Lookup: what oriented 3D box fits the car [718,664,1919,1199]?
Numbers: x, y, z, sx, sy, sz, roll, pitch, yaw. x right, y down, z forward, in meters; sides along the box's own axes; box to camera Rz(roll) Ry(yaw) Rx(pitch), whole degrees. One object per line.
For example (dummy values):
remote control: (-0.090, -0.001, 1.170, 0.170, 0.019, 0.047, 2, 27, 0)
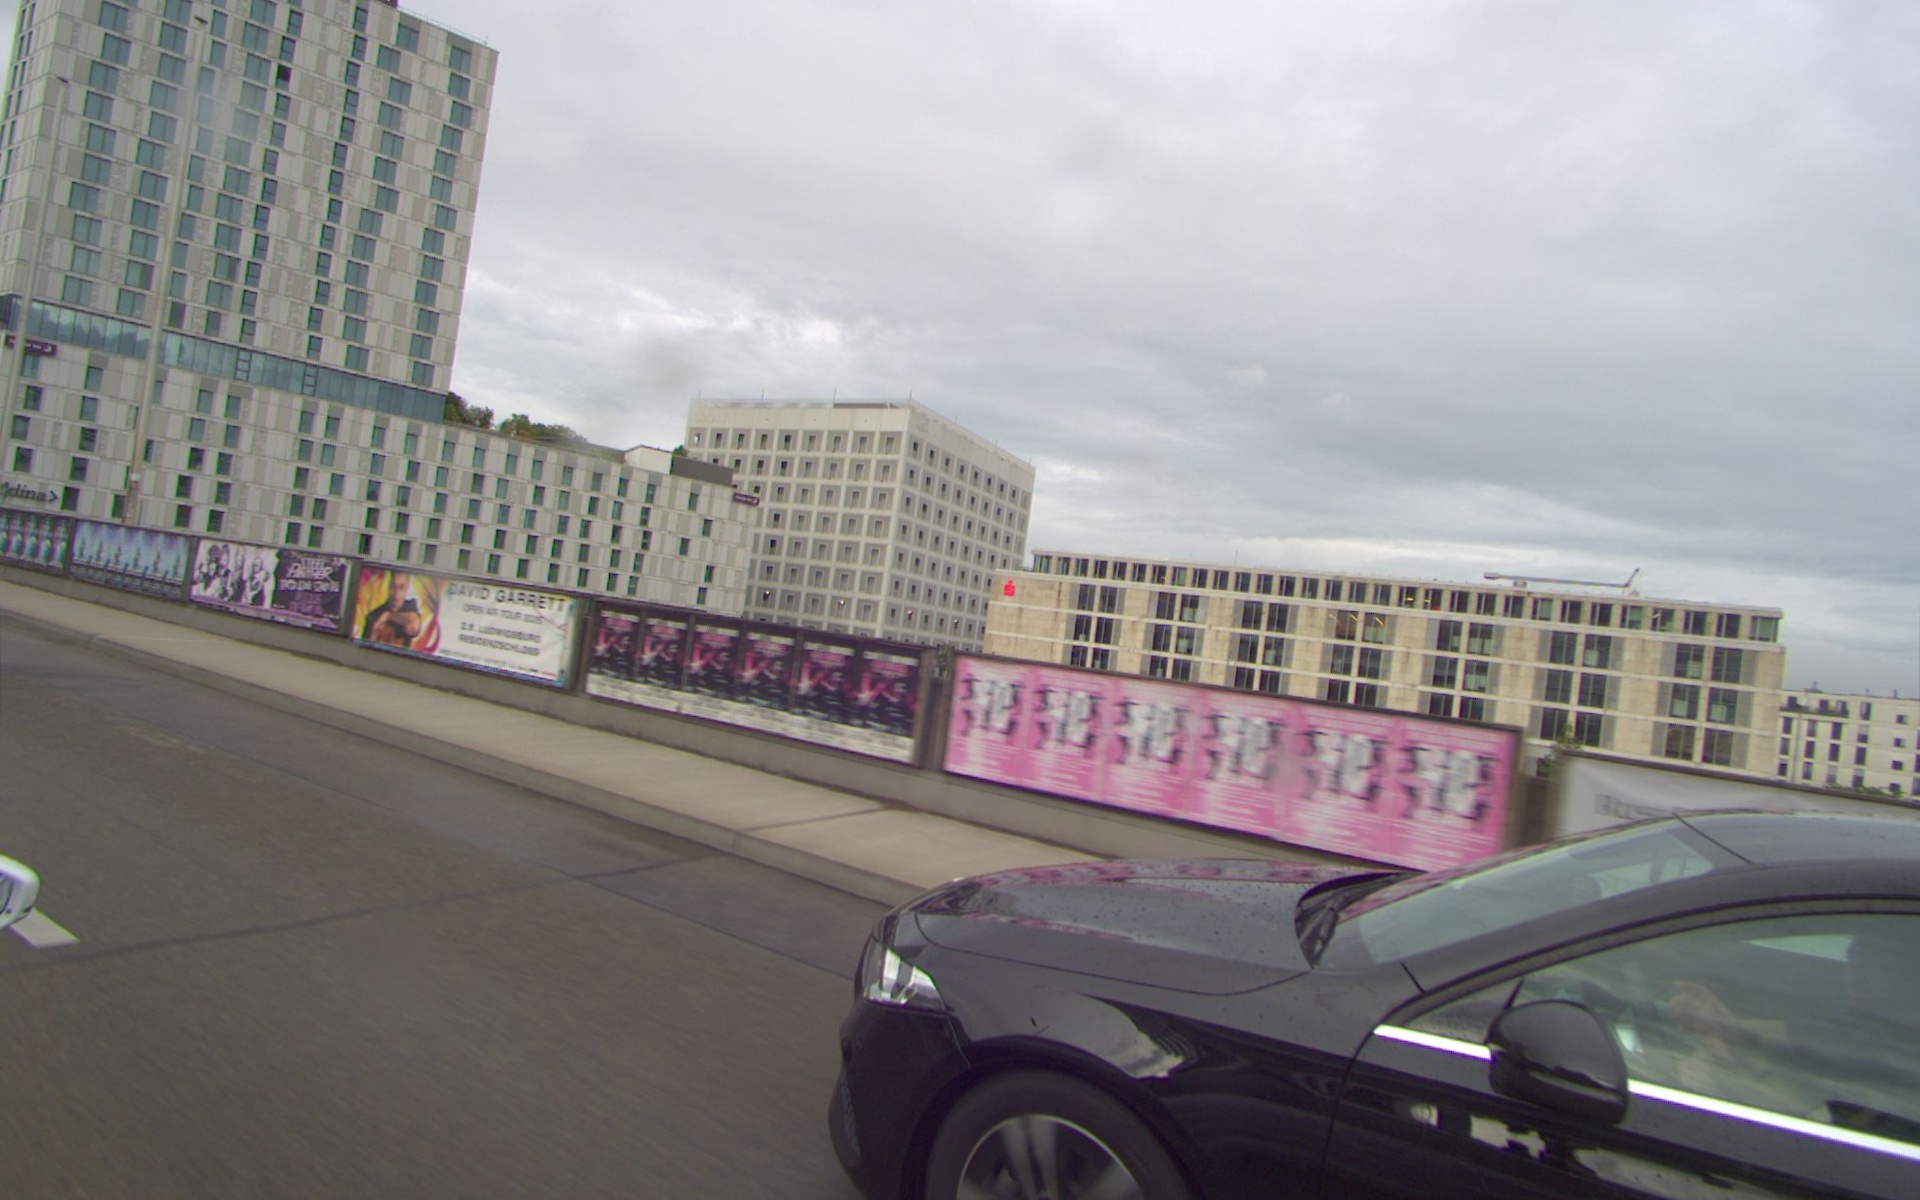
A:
car: (1.666, 1.093, 2.046, 4.086, 1.392, 1.726, 5, -2, 31)
